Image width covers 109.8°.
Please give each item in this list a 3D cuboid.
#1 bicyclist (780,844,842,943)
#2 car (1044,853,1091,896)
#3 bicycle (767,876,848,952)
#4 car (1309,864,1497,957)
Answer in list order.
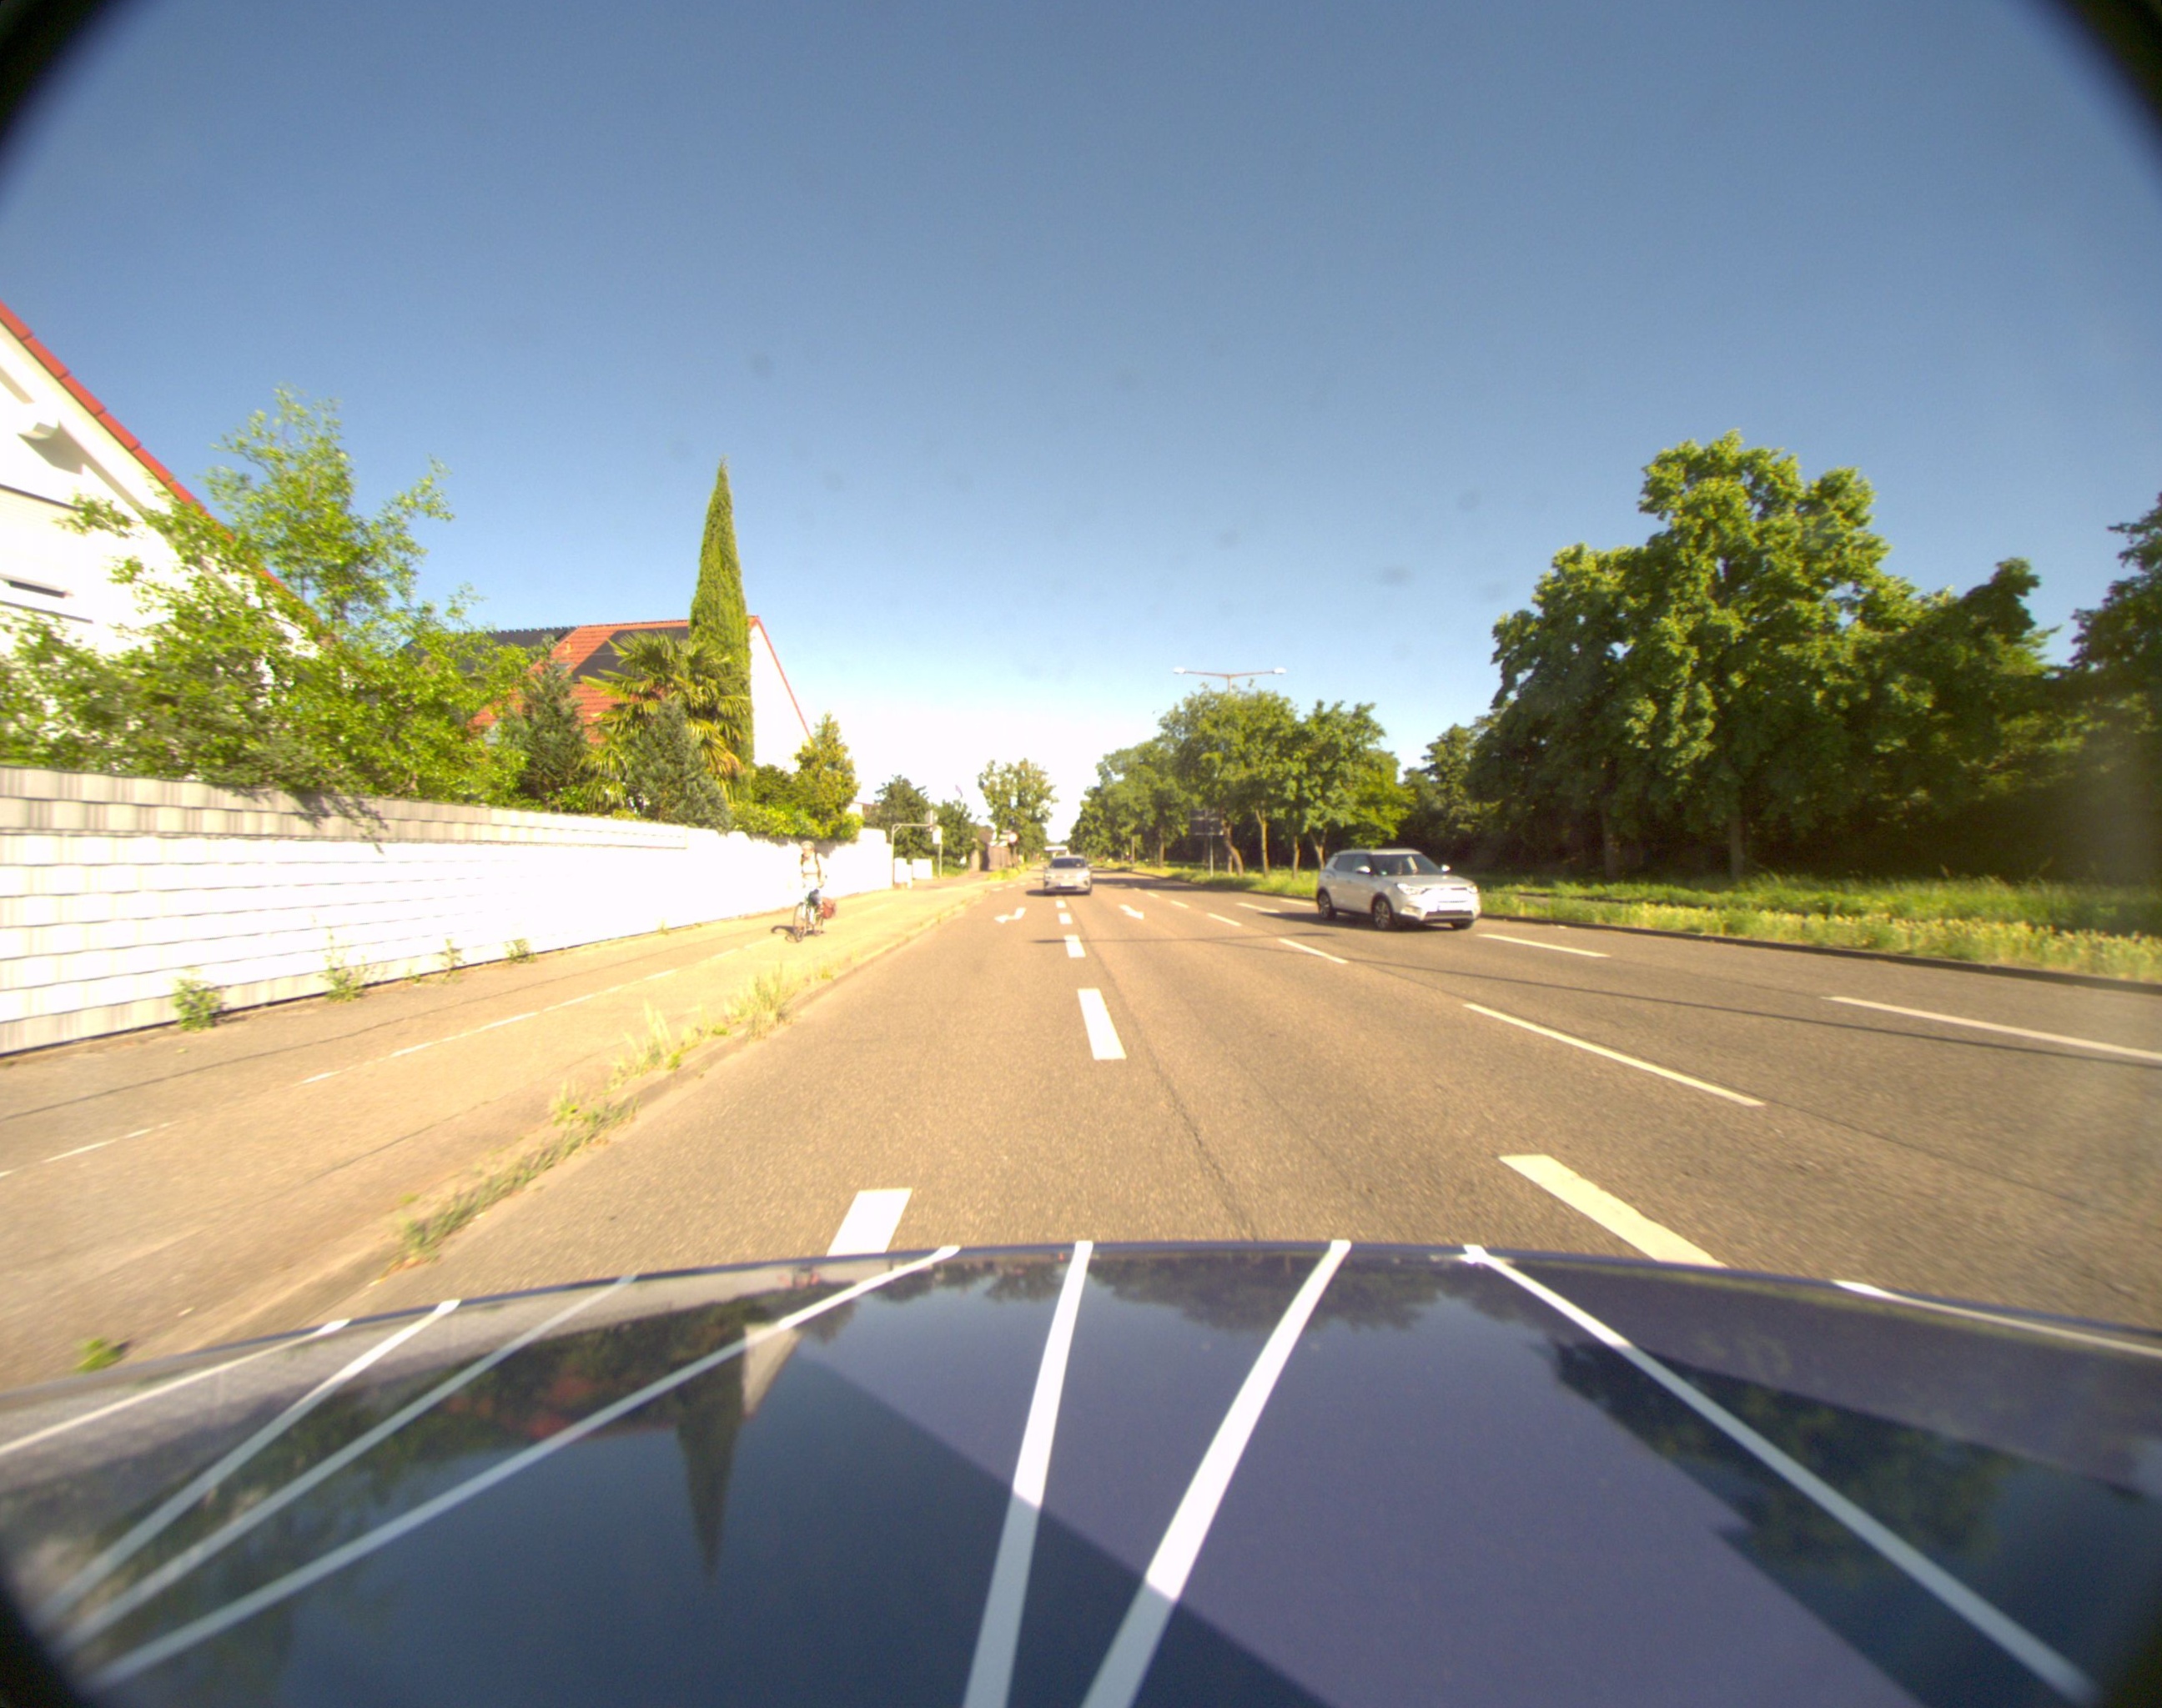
[{"bbox_3d":[-4.692,0.670,13.262,0.631,1.623,0.982,3,0,0],"label":"bicyclist"},{"bbox_3d":[-0.599,0.799,31.713,1.766,1.606,4.296,-2,1,-2],"label":"car"},{"bbox_3d":[-4.719,1.002,13.287,0.575,1.148,2.141,3,0,0],"label":"bicycle"},{"bbox_3d":[6.435,1.037,15.742,1.790,1.600,4.103,0,0,-7],"label":"car"}]
